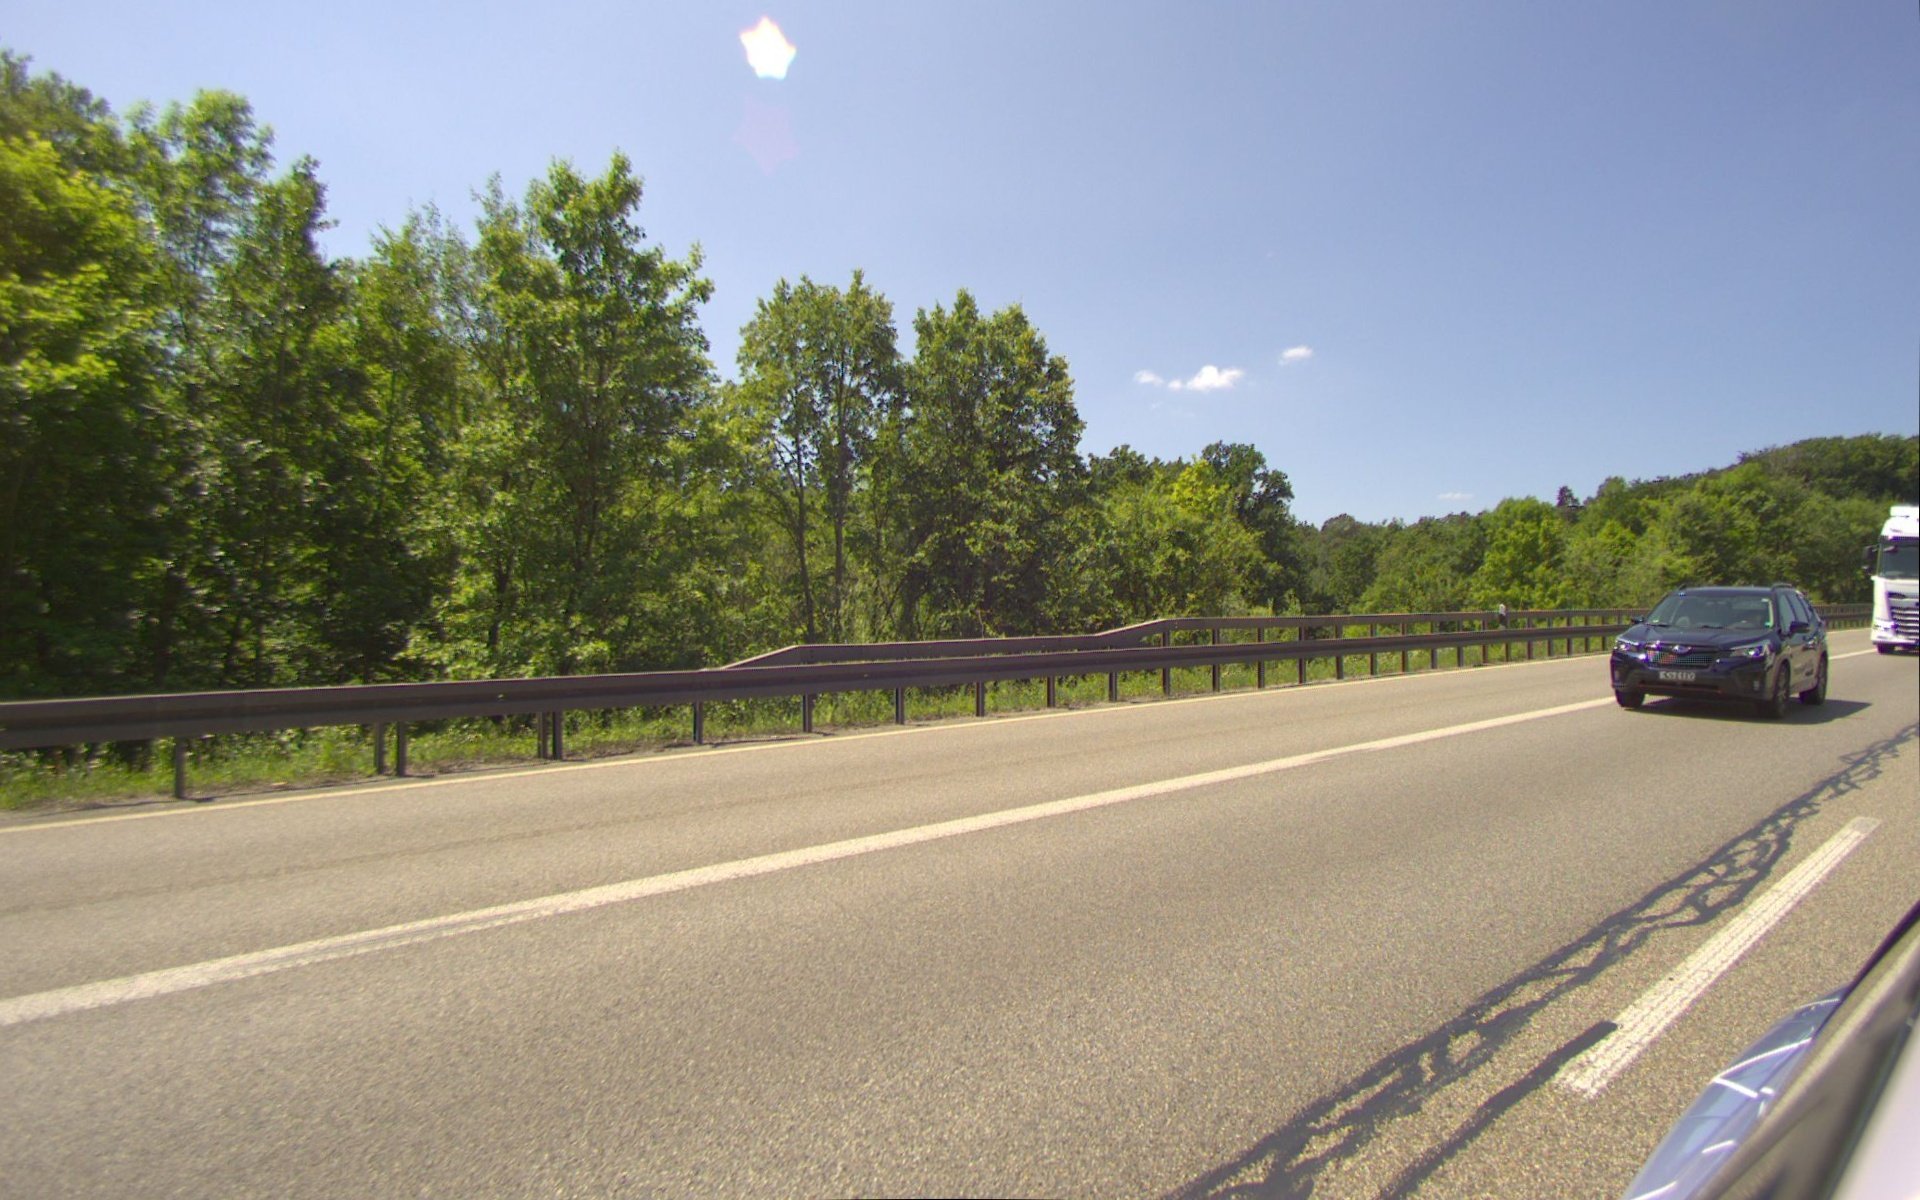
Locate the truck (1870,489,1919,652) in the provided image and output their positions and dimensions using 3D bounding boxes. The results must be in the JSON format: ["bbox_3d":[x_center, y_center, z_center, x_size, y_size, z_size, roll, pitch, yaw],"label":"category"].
[{"bbox_3d":[31.299,-0.888,30.935,15.977,4.220,2.789,-1,2,-39],"label":"truck"}]

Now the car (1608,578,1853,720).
[{"bbox_3d":[10.772,0.546,14.051,4.128,1.688,1.815,-1,1,-39],"label":"car"}]
